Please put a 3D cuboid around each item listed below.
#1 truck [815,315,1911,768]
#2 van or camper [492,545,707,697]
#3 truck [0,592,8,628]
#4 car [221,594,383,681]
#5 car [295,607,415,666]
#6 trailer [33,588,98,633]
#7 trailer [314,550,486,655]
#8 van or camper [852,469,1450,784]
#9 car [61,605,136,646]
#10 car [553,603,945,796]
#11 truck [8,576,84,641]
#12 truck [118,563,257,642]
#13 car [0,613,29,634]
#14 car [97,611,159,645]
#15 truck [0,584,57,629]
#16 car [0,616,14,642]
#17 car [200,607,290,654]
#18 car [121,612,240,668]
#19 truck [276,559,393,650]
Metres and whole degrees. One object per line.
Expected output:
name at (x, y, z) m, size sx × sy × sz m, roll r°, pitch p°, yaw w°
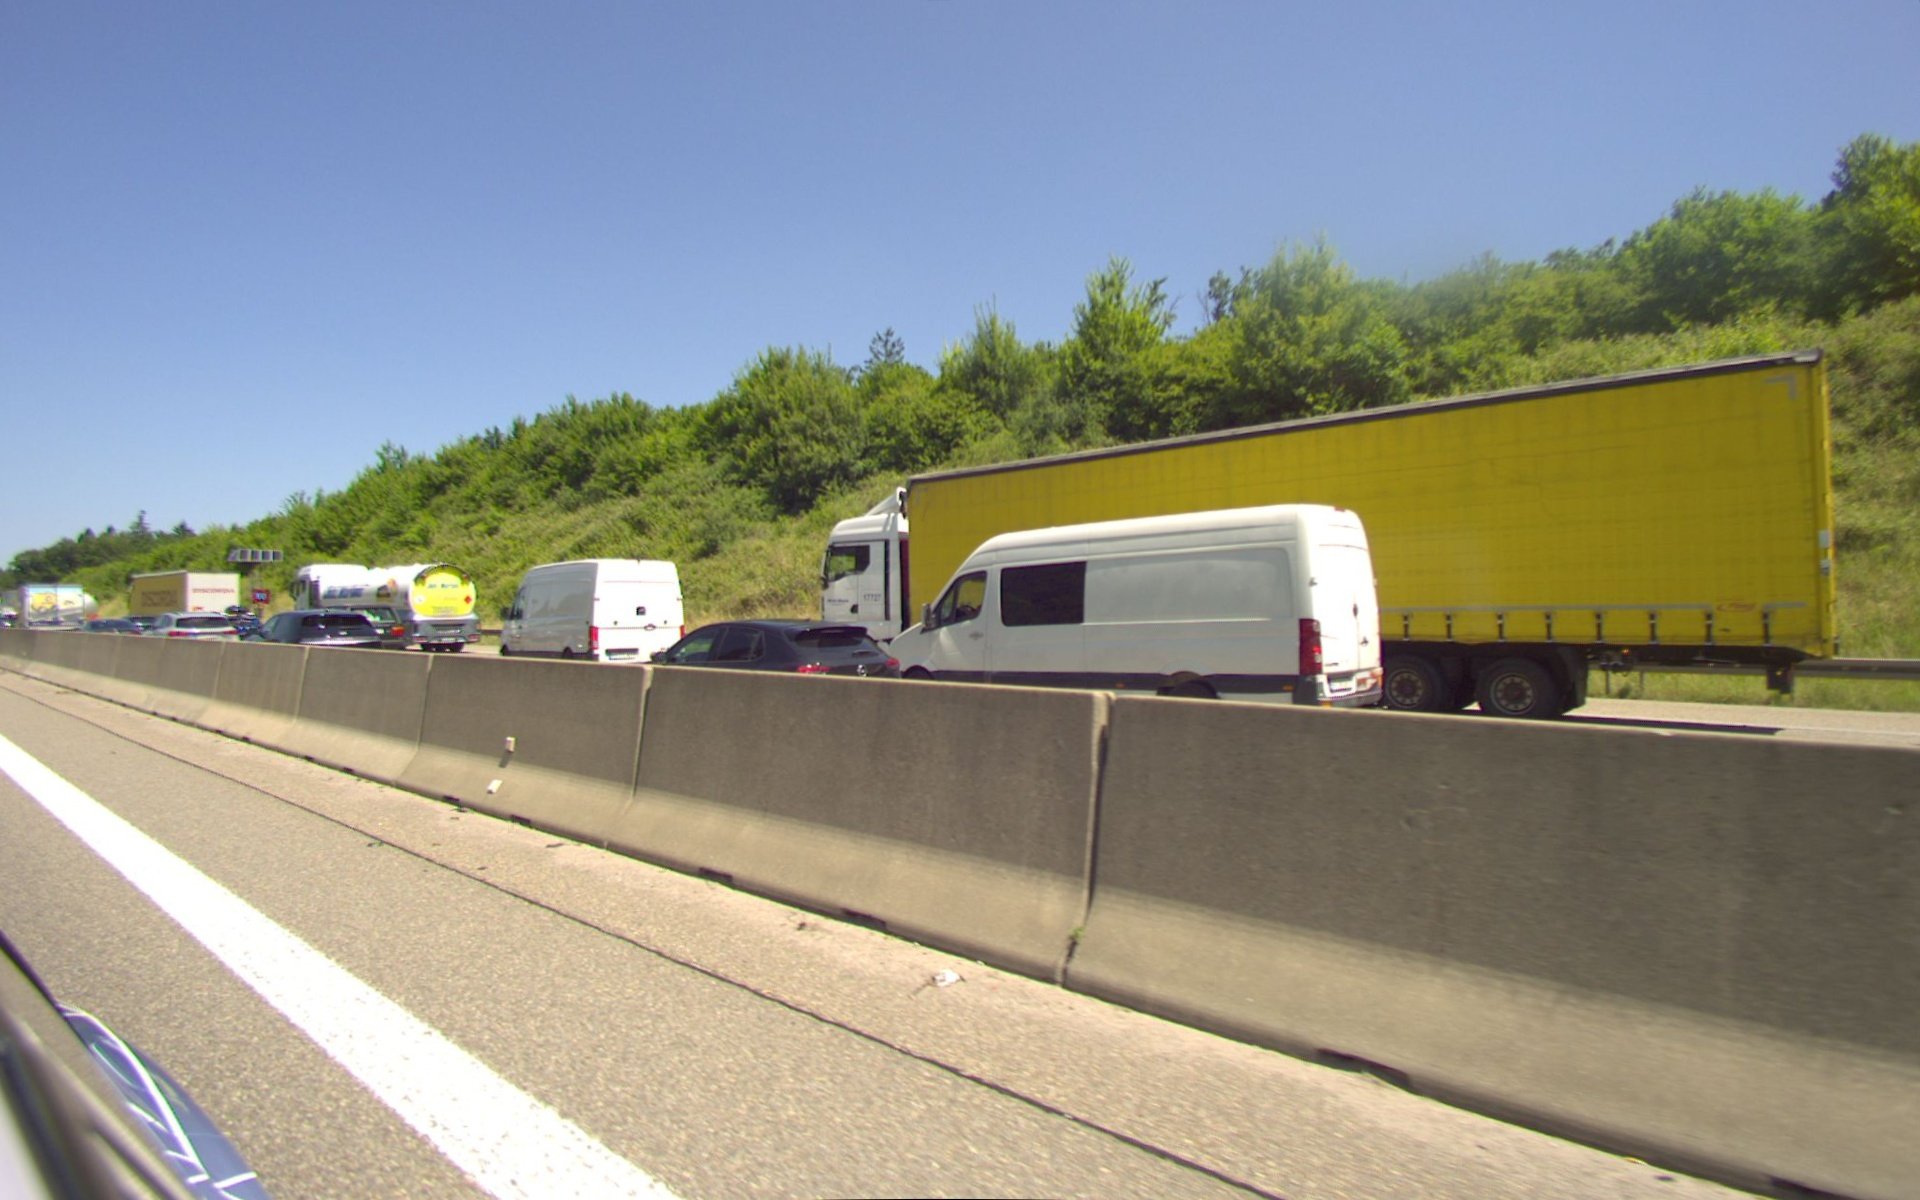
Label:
truck at (4.406, -0.570, 16.978) m, size 16.669 × 4.490 × 3.657 m, roll 0°, pitch 0°, yaw 42°
van or camper at (-8.109, 0.382, 22.099) m, size 2.222 × 2.796 × 7.232 m, roll 0°, pitch 0°, yaw -38°
truck at (-129.598, 1.314, 133.757) m, size 19.443 × 4.490 × 3.658 m, roll 0°, pitch 0°, yaw 41°
car at (-15.151, 0.782, 23.188) m, size 4.988 × 1.778 × 1.809 m, roll 0°, pitch 0°, yaw 41°
car at (-19.786, 1.121, 33.019) m, size 4.757 × 1.741 × 1.977 m, roll 0°, pitch 0°, yaw 41°
trailer at (-79.122, 1.007, 89.378) m, size 11.685 × 3.319 × 2.552 m, roll -5°, pitch -3°, yaw 40°
trailer at (-22.606, 0.173, 40.481) m, size 10.677 × 3.761 × 2.583 m, roll -1°, pitch -1°, yaw 41°
van or camper at (1.907, 0.247, 12.907) m, size 7.535 × 2.961 × 2.173 m, roll 0°, pitch 0°, yaw 43°
car at (-34.201, 0.968, 40.133) m, size 4.760 × 1.508 × 1.807 m, roll 0°, pitch 0°, yaw 44°
car at (-2.632, 0.938, 11.760) m, size 4.988 × 1.778 × 1.809 m, roll 0°, pitch 0°, yaw 41°
truck at (-45.441, 0.395, 50.247) m, size 6.777 × 3.039 × 2.243 m, roll 0°, pitch 0°, yaw 43°
truck at (-49.441, 0.165, 64.368) m, size 17.373 × 4.490 × 3.658 m, roll 0°, pitch 0°, yaw 41°
car at (-83.697, 2.047, 89.158) m, size 4.754 × 1.776 × 1.810 m, roll 0°, pitch 0°, yaw 39°
car at (-46.126, 1.526, 56.064) m, size 4.988 × 1.778 × 1.809 m, roll 0°, pitch 0°, yaw 41°
truck at (-99.160, 0.634, 106.814) m, size 17.373 × 4.490 × 3.658 m, roll 0°, pitch 0°, yaw 41°
car at (-57.808, 1.725, 60.092) m, size 4.754 × 1.508 × 1.810 m, roll 0°, pitch 0°, yaw 39°
car at (-29.261, 1.177, 41.344) m, size 4.987 × 1.778 × 1.809 m, roll 0°, pitch 0°, yaw 40°
car at (-23.445, 1.136, 30.373) m, size 4.754 × 1.508 × 1.810 m, roll 0°, pitch 0°, yaw 39°
truck at (-27.759, 0.188, 44.820) m, size 5.866 × 3.771 × 2.652 m, roll 0°, pitch 0°, yaw 39°
